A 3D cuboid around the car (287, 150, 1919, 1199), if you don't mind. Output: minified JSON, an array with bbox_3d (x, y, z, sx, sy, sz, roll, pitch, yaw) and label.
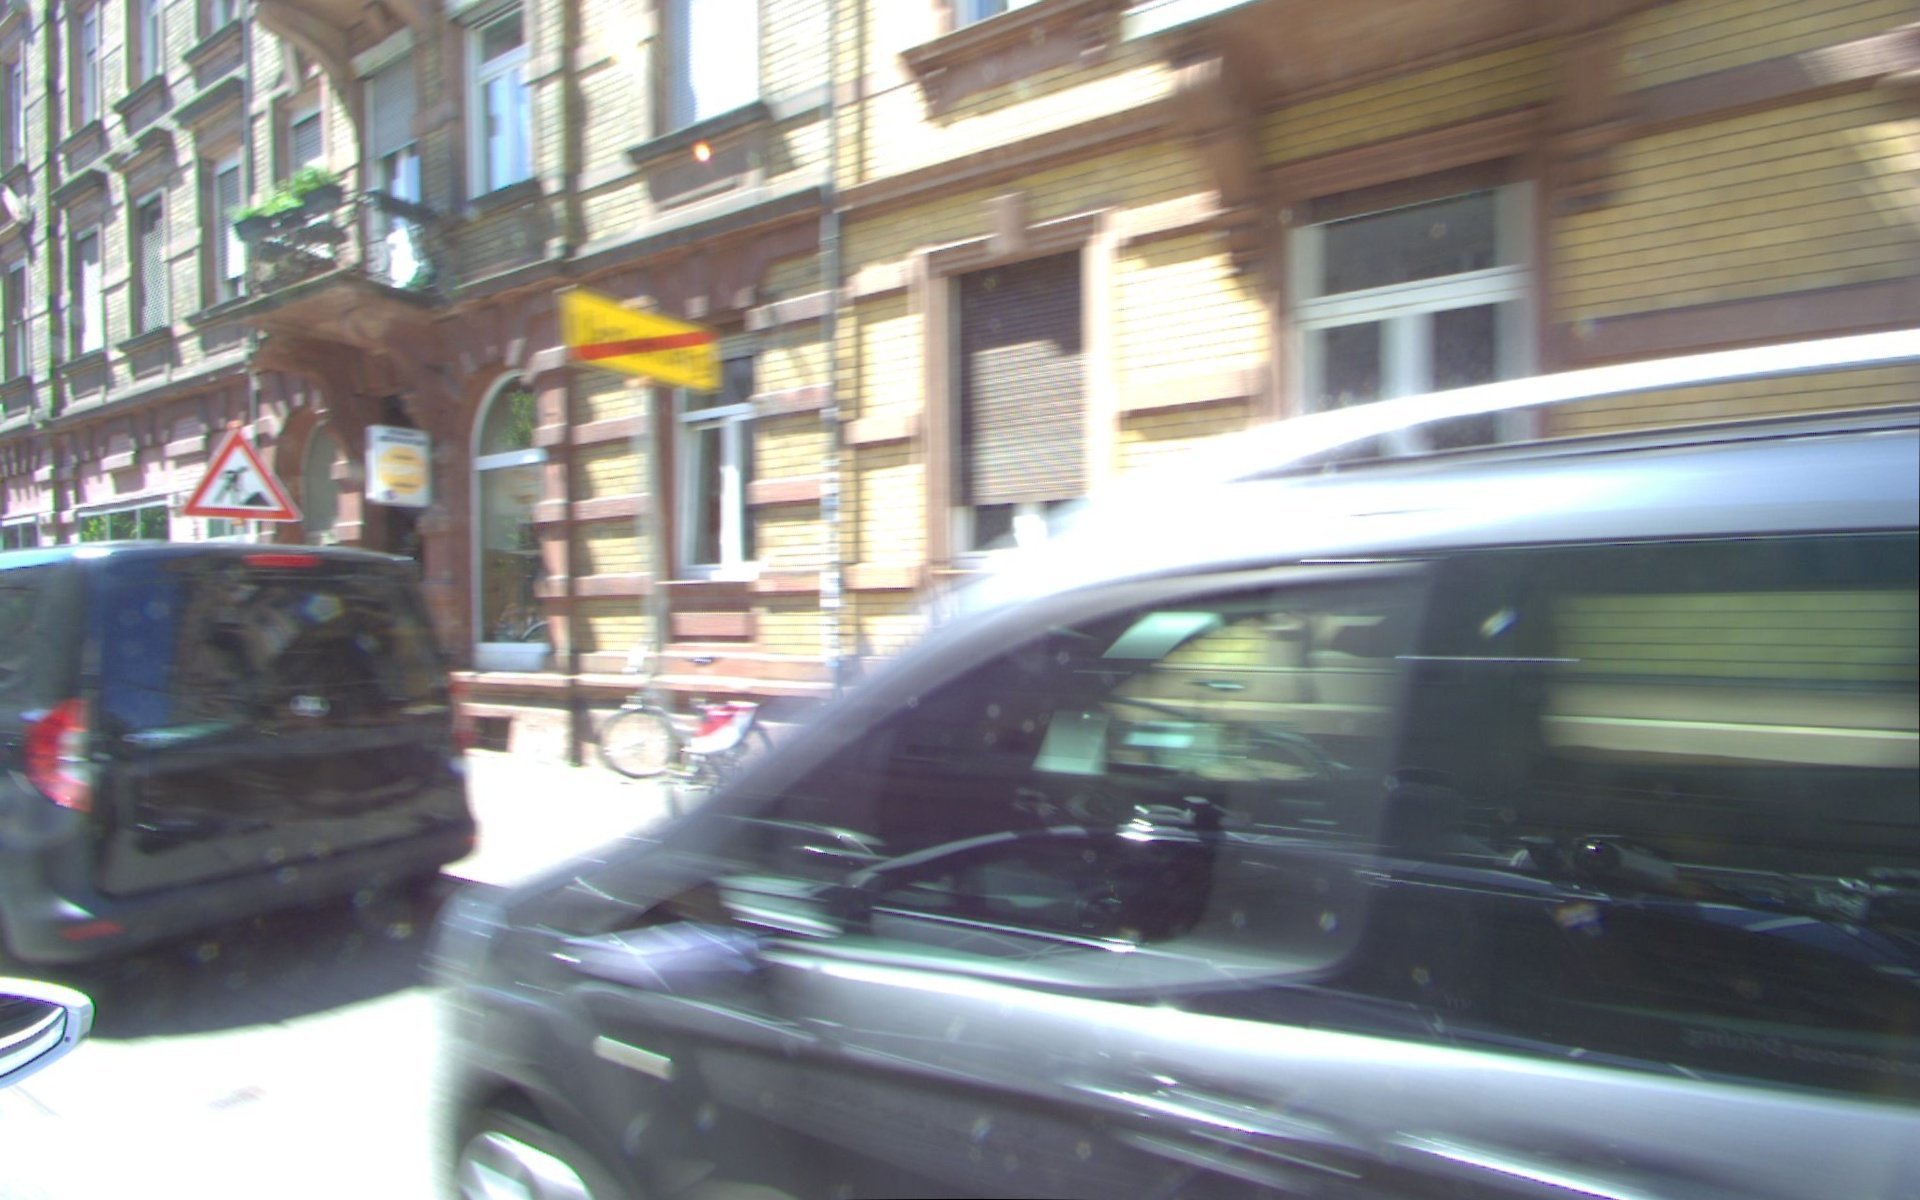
[{"bbox_3d":[0.668,0.562,1.812,3.943,1.756,1.699,-1,-1,32],"label":"car"}]

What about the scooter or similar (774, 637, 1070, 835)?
[{"bbox_3d":[-0.311,0.848,6.798,2.118,1.168,0.475,-1,0,32],"label":"scooter or similar"}]

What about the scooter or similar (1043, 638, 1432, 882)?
[{"bbox_3d":[1.500,0.814,5.669,2.081,1.168,0.475,-1,0,32],"label":"scooter or similar"}]

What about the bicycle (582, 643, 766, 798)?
[{"bbox_3d":[-2.323,0.919,8.034,1.730,1.118,0.353,-1,0,32],"label":"bicycle"}]

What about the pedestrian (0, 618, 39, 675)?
[{"bbox_3d":[-28.014,1.373,29.769,0.634,1.645,0.799,0,0,35],"label":"pedestrian"}]

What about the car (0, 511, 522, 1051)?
[{"bbox_3d":[-4.446,0.625,5.191,4.274,1.790,1.821,-1,1,31],"label":"car"}]

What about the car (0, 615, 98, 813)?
[{"bbox_3d":[-9.146,0.885,8.284,4.419,1.451,1.722,-1,0,31],"label":"car"}]
